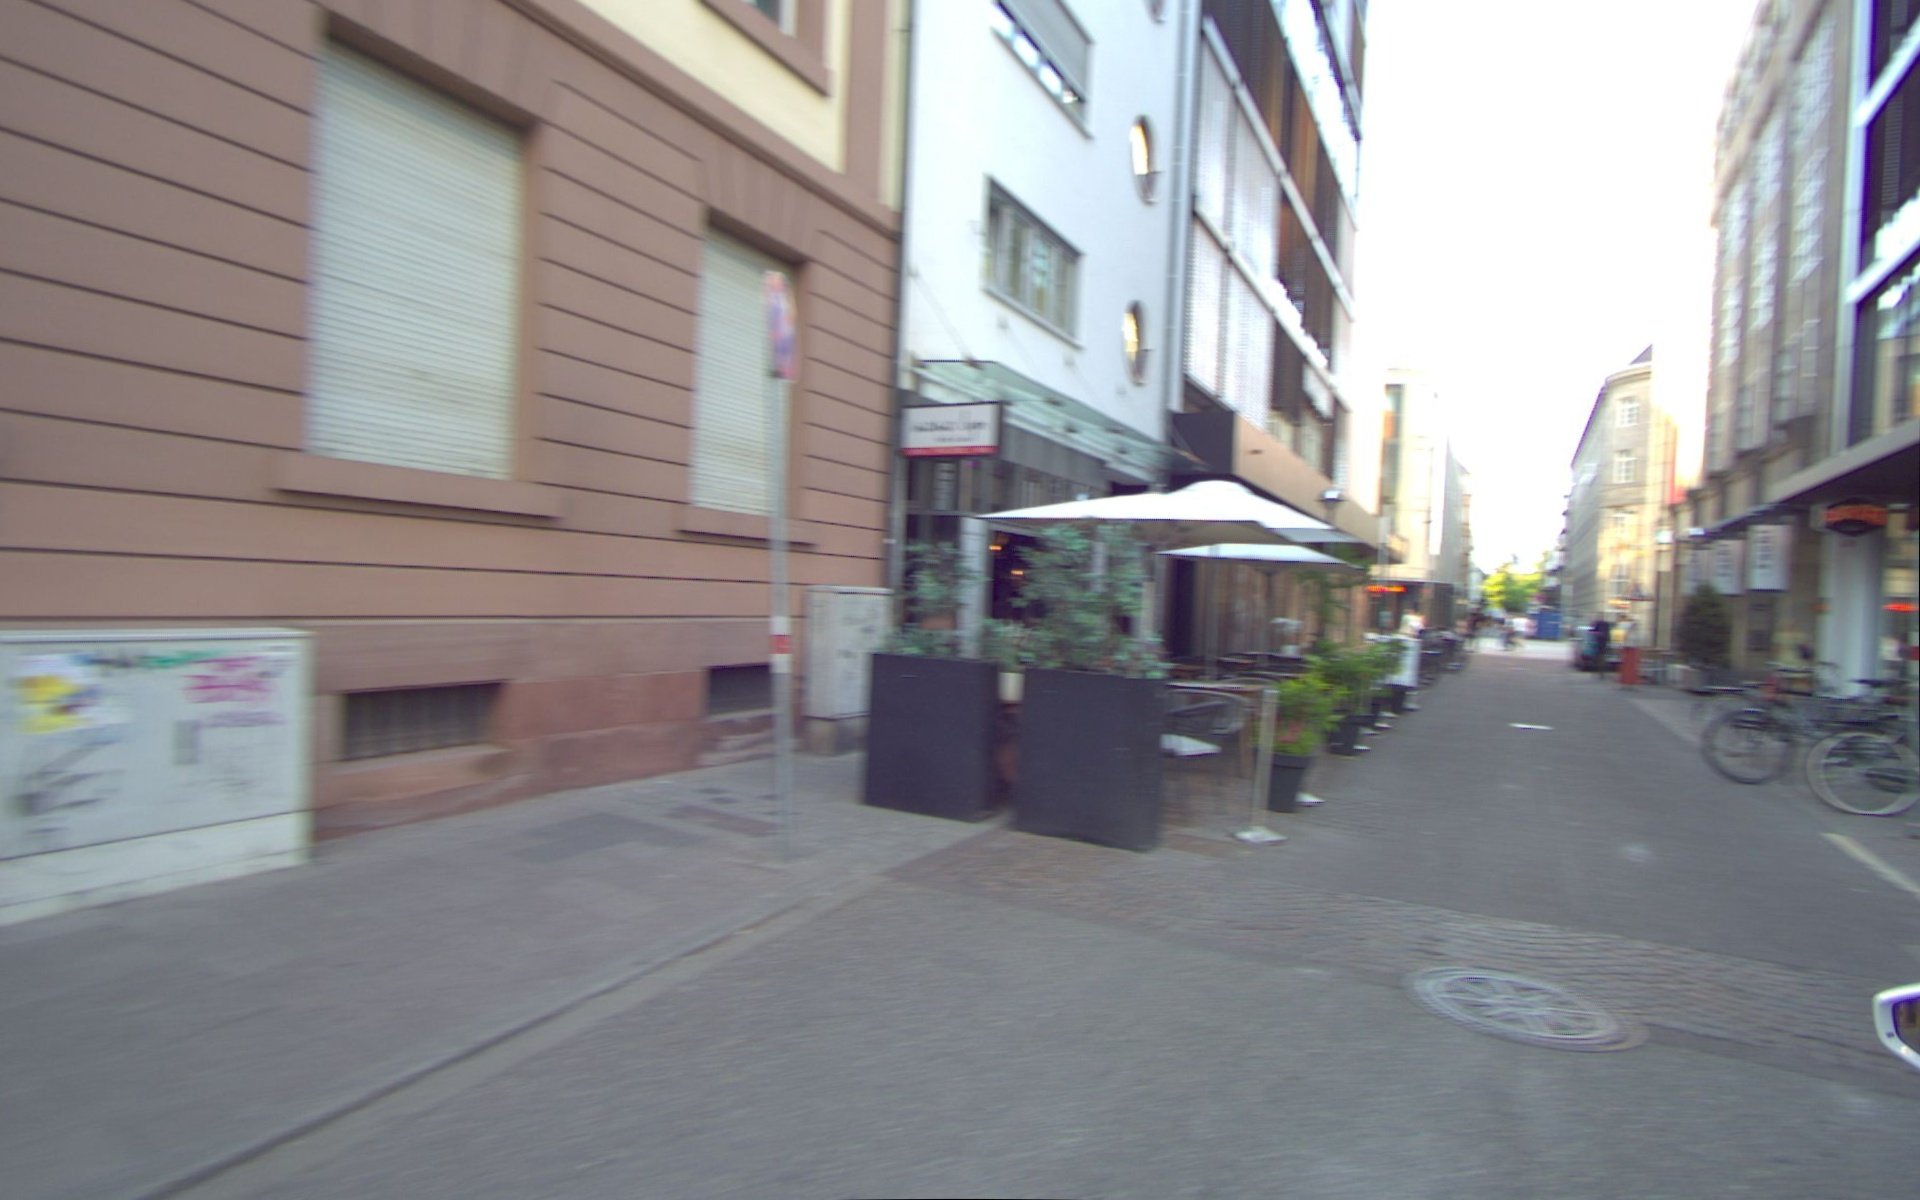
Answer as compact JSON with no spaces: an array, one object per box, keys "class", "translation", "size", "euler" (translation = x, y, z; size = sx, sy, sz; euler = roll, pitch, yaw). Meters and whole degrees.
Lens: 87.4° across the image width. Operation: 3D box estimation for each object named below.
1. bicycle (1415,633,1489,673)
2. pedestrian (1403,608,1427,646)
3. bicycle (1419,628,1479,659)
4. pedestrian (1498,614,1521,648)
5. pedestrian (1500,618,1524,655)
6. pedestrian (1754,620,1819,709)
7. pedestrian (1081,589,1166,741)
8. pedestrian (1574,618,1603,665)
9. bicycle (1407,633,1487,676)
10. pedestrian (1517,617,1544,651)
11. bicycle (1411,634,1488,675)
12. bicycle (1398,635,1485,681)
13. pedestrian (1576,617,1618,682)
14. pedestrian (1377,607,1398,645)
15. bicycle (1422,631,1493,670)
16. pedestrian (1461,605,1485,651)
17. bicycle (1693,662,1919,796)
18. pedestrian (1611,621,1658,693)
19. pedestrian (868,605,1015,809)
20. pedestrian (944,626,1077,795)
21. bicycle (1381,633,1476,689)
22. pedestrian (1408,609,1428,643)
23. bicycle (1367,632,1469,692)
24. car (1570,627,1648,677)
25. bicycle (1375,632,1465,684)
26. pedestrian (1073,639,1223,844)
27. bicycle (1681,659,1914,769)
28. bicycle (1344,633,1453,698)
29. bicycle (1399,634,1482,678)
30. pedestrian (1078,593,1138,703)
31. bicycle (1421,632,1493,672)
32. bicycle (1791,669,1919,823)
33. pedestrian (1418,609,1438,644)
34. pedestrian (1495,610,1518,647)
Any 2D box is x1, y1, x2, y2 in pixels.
[{"class":"bicycle","translation":[15.540,1.666,31.769],"size":[2.017,1.064,0.466],"euler":[5,2,29]},{"class":"pedestrian","translation":[23.428,1.379,51.688],"size":[1.010,1.884,0.905],"euler":[2,0,29]},{"class":"bicycle","translation":[19.046,1.678,39.162],"size":[2.017,1.026,0.466],"euler":[5,2,29]},{"class":"pedestrian","translation":[29.451,1.661,53.856],"size":[0.851,1.757,0.929],"euler":[2,0,41]},{"class":"pedestrian","translation":[25.594,1.690,46.592],"size":[0.890,1.683,0.792],"euler":[2,0,27]},{"class":"pedestrian","translation":[15.432,1.183,18.773],"size":[0.786,1.586,0.857],"euler":[2,0,32]},{"class":"pedestrian","translation":[1.914,0.729,11.705],"size":[0.777,1.670,0.725],"euler":[2,0,24]},{"class":"pedestrian","translation":[26.003,1.687,41.564],"size":[0.890,1.884,0.834],"euler":[2,0,28]},{"class":"bicycle","translation":[14.314,1.578,29.554],"size":[2.017,1.064,0.466],"euler":[5,2,29]},{"class":"pedestrian","translation":[30.220,1.776,53.202],"size":[0.998,1.757,0.976],"euler":[2,0,41]},{"class":"bicycle","translation":[14.929,1.648,30.674],"size":[2.017,1.064,0.466],"euler":[5,2,29]},{"class":"bicycle","translation":[13.018,1.544,27.187],"size":[2.017,1.030,0.466],"euler":[5,2,29]},{"class":"pedestrian","translation":[17.319,1.328,27.327],"size":[0.886,1.683,0.928],"euler":[2,0,31]},{"class":"pedestrian","translation":[22.068,1.345,51.845],"size":[0.891,1.884,0.834],"euler":[2,0,29]},{"class":"bicycle","translation":[16.566,1.674,33.459],"size":[2.017,1.110,0.466],"euler":[5,2,29]},{"class":"pedestrian","translation":[21.506,1.176,42.101],"size":[0.820,1.884,0.906],"euler":[2,0,28]},{"class":"bicycle","translation":[8.099,1.177,9.378],"size":[1.980,1.136,0.466],"euler":[0,-1,29]},{"class":"pedestrian","translation":[15.419,1.283,22.970],"size":[0.786,1.586,0.857],"euler":[2,0,30]},{"class":"pedestrian","translation":[-0.128,0.737,7.319],"size":[0.778,1.349,0.673],"euler":[4,1,28]},{"class":"pedestrian","translation":[0.407,0.836,7.956],"size":[0.778,1.199,0.673],"euler":[4,1,28]},{"class":"bicycle","translation":[10.966,1.413,23.525],"size":[1.918,1.089,0.466],"euler":[5,2,29]},{"class":"pedestrian","translation":[26.161,1.490,57.369],"size":[0.891,1.884,0.834],"euler":[2,0,29]},{"class":"bicycle","translation":[10.018,1.340,22.004],"size":[1.918,1.089,0.466],"euler":[5,2,29]},{"class":"car","translation":[21.338,1.657,33.162],"size":[1.727,1.460,3.924],"euler":[1,0,27]},{"class":"bicycle","translation":[11.345,1.416,24.783],"size":[1.918,1.089,0.466],"euler":[5,2,29]},{"class":"pedestrian","translation":[1.258,0.891,6.663],"size":[0.777,1.199,0.673],"euler":[4,1,24]},{"class":"bicycle","translation":[9.575,1.277,11.587],"size":[2.004,1.136,0.466],"euler":[0,-1,29]},{"class":"bicycle","translation":[8.822,1.300,20.250],"size":[1.918,1.089,0.466],"euler":[5,2,29]},{"class":"bicycle","translation":[13.511,1.558,28.260],"size":[2.017,1.030,0.466],"euler":[5,2,29]},{"class":"pedestrian","translation":[2.388,0.752,16.140],"size":[0.841,1.681,0.800],"euler":[2,0,13]},{"class":"bicycle","translation":[16.248,1.681,32.845],"size":[2.017,1.110,0.466],"euler":[5,2,29]},{"class":"bicycle","translation":[7.638,1.147,7.870],"size":[1.672,1.151,0.466],"euler":[0,-1,29]},{"class":"pedestrian","translation":[26.407,1.490,56.676],"size":[0.891,1.884,0.834],"euler":[2,0,29]},{"class":"pedestrian","translation":[25.761,1.344,47.332],"size":[0.890,1.683,0.792],"euler":[2,0,27]}]
